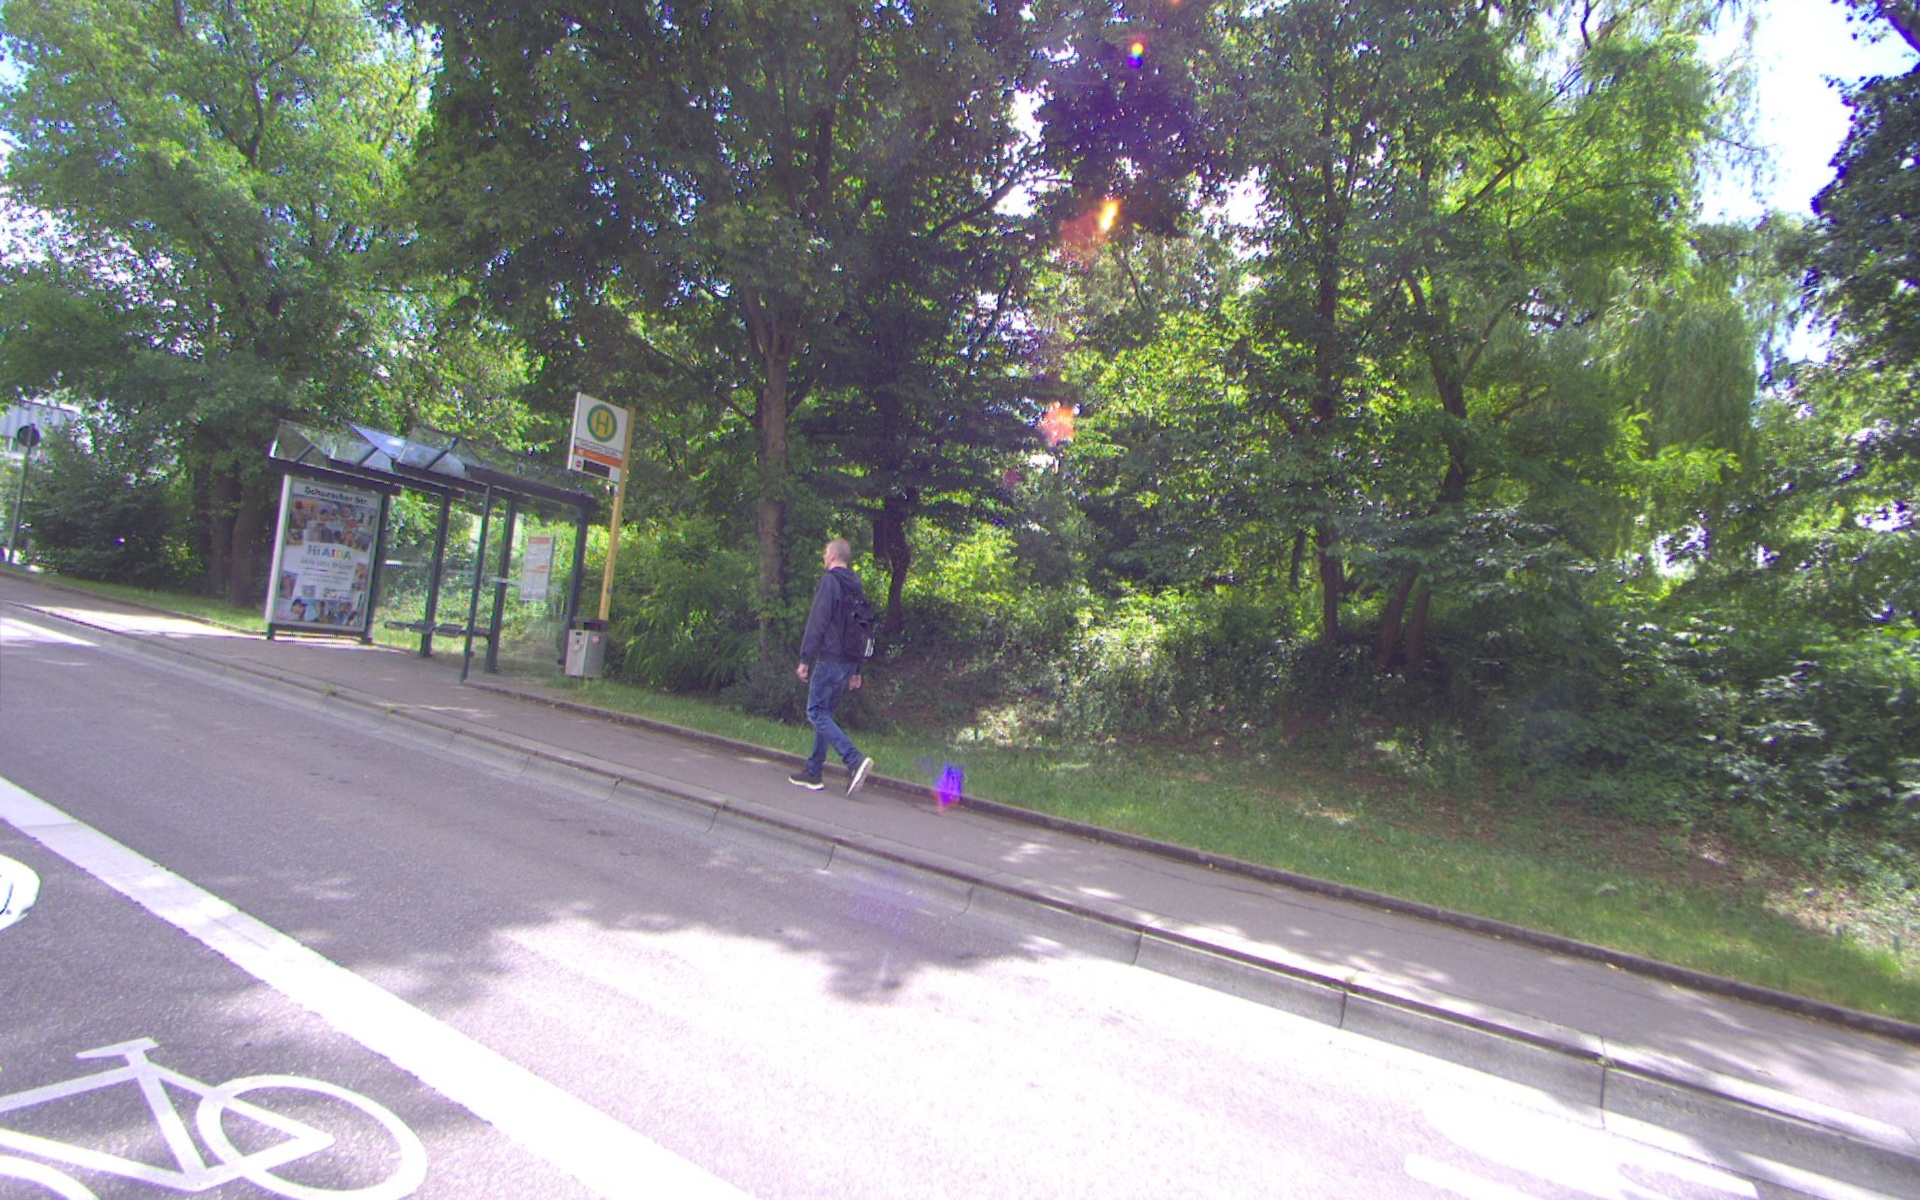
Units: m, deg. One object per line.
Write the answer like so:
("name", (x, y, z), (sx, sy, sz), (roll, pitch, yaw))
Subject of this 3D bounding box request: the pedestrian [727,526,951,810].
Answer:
("pedestrian", (-0.918, 0.484, 7.657), (1.250, 1.917, 0.802), (7, -1, 33))

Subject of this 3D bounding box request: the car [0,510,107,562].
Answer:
("car", (-37.609, -2.657, 41.213), (1.679, 1.619, 3.592), (7, -2, 20))

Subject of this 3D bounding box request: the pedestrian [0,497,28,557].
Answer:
("pedestrian", (-30.796, -2.352, 32.558), (0.612, 1.808, 0.562), (12, -5, -40))

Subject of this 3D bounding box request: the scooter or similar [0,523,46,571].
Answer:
("scooter or similar", (-24.375, -1.380, 25.942), (0.325, 1.112, 1.153), (7, -2, 8))

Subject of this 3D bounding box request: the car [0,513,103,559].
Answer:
("car", (-40.305, -2.856, 43.351), (1.964, 1.497, 4.654), (7, -2, 25))
